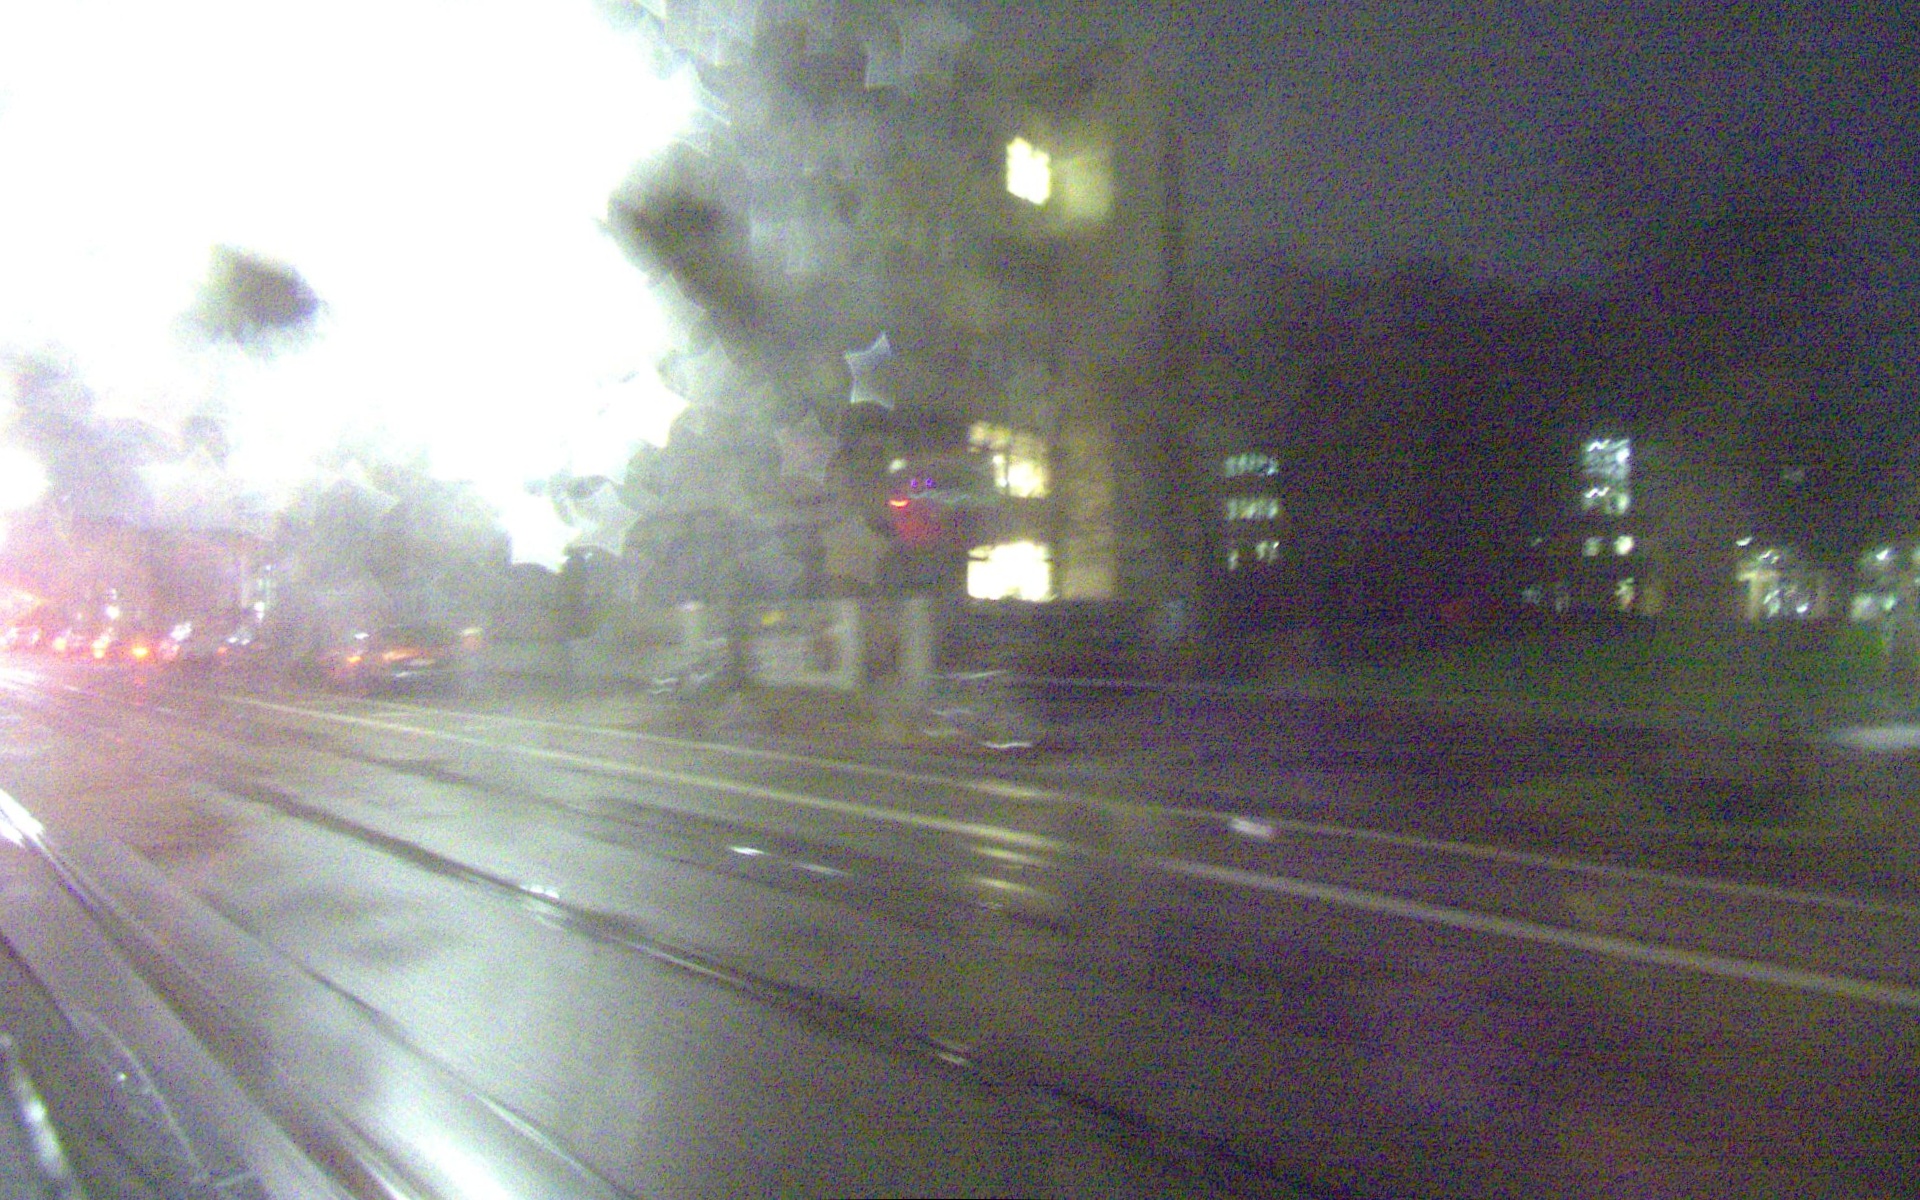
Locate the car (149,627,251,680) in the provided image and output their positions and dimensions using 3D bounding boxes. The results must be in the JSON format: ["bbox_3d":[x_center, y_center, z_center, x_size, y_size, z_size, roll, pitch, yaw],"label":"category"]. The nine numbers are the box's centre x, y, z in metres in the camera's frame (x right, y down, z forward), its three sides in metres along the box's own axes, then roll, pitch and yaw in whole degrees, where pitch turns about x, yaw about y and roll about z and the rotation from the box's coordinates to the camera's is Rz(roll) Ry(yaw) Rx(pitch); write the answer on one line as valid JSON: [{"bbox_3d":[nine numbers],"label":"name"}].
[{"bbox_3d":[-26.426,1.797,35.126,4.515,1.643,1.962,-1,-1,41],"label":"car"}]

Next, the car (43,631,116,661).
[{"bbox_3d":[-45.620,2.362,52.399,4.951,1.474,1.870,-1,-2,37],"label":"car"}]

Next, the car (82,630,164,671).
[{"bbox_3d":[-36.466,2.169,44.069,4.394,1.557,1.862,-1,2,39],"label":"car"}]

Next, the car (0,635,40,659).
[{"bbox_3d":[-60.821,3.022,65.060,4.601,1.451,1.756,-1,-2,38],"label":"car"}]

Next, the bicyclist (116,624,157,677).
[{"bbox_3d":[-26.634,1.613,32.725,1.206,1.668,0.774,-1,-3,42],"label":"bicyclist"}]

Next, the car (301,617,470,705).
[{"bbox_3d":[-12.892,1.269,22.582,4.601,1.668,1.948,-1,1,43],"label":"car"}]

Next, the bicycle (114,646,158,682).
[{"bbox_3d":[-26.644,2.044,32.707,1.917,1.090,0.774,-1,-3,42],"label":"bicycle"}]

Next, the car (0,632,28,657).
[{"bbox_3d":[-69.203,3.243,73.177,4.587,1.631,2.121,-1,1,41],"label":"car"}]

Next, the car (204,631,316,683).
[{"bbox_3d":[-20.898,1.661,30.155,3.909,1.432,1.674,-2,-2,38],"label":"car"}]

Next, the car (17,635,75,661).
[{"bbox_3d":[-53.519,2.788,59.227,4.204,1.434,1.822,-1,-2,38],"label":"car"}]
